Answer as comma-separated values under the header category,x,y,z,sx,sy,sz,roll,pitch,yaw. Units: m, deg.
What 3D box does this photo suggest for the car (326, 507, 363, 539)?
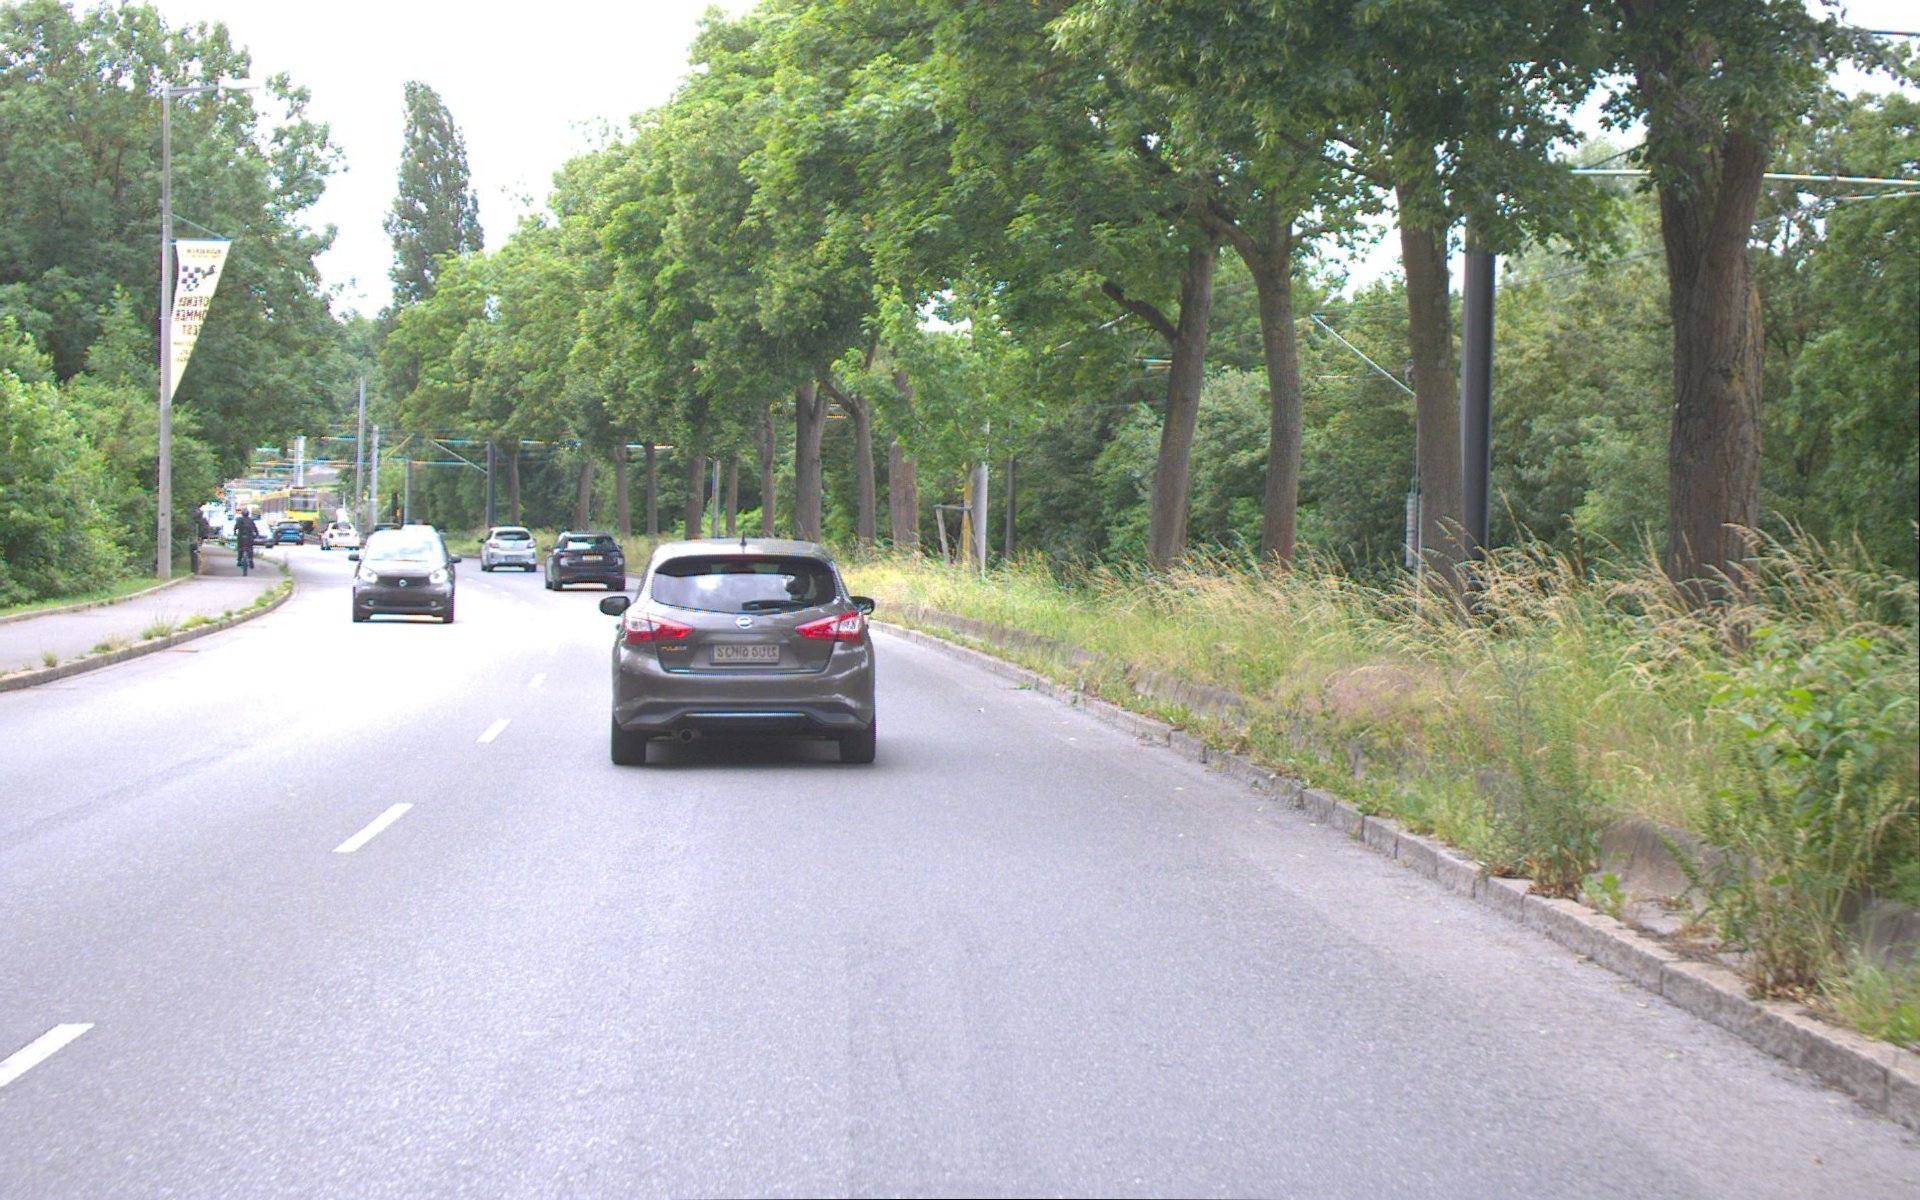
category,x,y,z,sx,sy,sz,roll,pitch,yaw
car,-32.255,-4.039,180.036,1.775,1.467,4.002,3,2,-11

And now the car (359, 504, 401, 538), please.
category,x,y,z,sx,sy,sz,roll,pitch,yaw
car,-26.813,-3.662,158.877,1.775,1.467,4.002,2,2,-11

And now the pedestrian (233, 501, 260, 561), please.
category,x,y,z,sx,sy,sz,roll,pitch,yaw
pedestrian,-19.331,-1.877,93.149,0.617,1.566,0.849,3,2,-9

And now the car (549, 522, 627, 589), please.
category,x,y,z,sx,sy,sz,roll,pitch,yaw
car,-9.151,-1.110,84.866,1.775,1.467,4.001,3,2,-5

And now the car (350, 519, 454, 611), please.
category,x,y,z,sx,sy,sz,roll,pitch,yaw
car,-9.400,-0.605,58.077,1.595,1.500,3.029,0,1,-7

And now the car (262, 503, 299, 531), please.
category,x,y,z,sx,sy,sz,roll,pitch,yaw
car,-40.839,-5.002,206.581,1.775,1.467,4.002,3,2,-17

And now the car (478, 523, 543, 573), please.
category,x,y,z,sx,sy,sz,roll,pitch,yaw
car,-14.996,-1.734,114.533,1.775,1.467,4.002,3,2,-12

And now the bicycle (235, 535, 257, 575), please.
category,x,y,z,sx,sy,sz,roll,pitch,yaw
bicycle,-19.341,-1.210,93.107,0.488,1.027,1.125,3,2,-9

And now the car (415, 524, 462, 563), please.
category,x,y,z,sx,sy,sz,roll,pitch,yaw
car,-22.143,-2.418,145.883,1.775,1.467,4.002,2,2,-11

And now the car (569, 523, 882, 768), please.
category,x,y,z,sx,sy,sz,roll,pitch,yaw
car,-1.736,0.253,24.209,1.815,1.503,4.002,0,2,-9
